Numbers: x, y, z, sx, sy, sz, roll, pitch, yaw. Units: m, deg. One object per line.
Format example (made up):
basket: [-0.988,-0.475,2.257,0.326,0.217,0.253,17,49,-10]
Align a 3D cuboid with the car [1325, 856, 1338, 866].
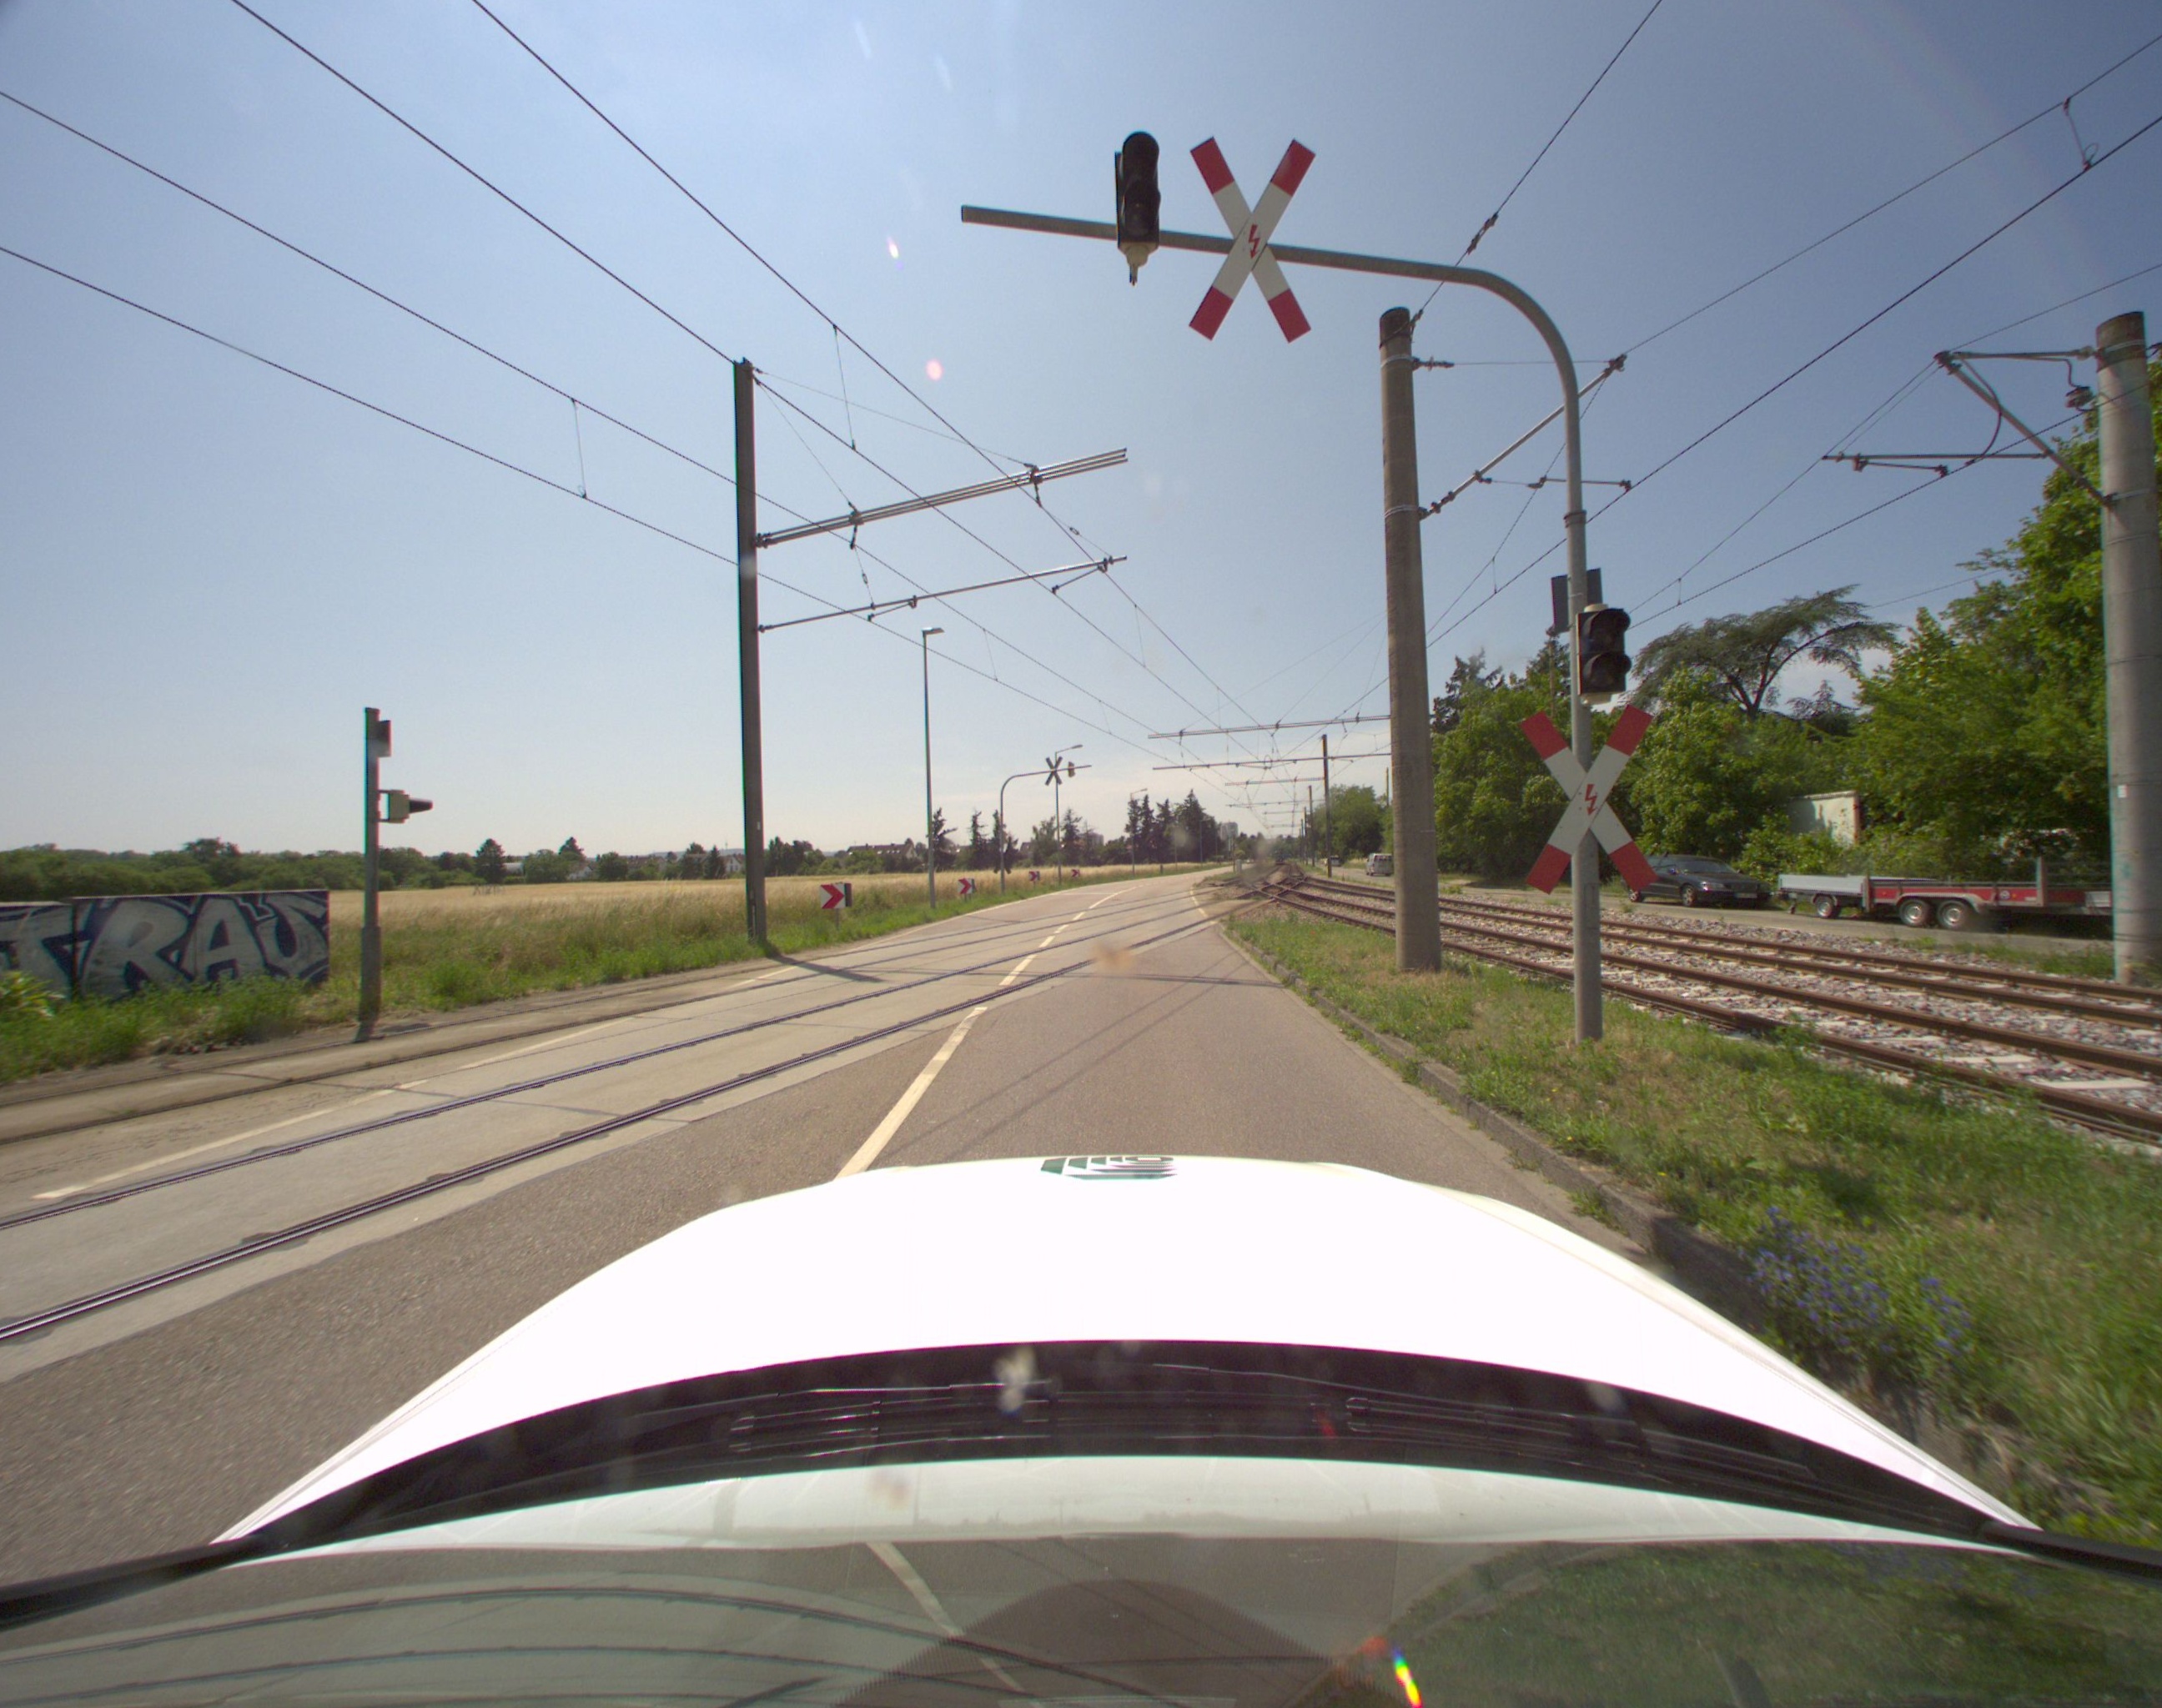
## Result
car: [45.235,1.266,147.108,1.979,1.802,4.812,-2,-2,14]

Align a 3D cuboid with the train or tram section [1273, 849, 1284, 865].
train or tram section: [51.954,0.907,213.913,2.411,3.766,11.602,-2,-2,14]

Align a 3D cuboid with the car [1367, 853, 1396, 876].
car: [26.288,0.945,71.348,2.020,1.882,5.090,-2,-2,17]

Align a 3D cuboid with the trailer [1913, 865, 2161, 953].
trailer: [16.267,0.824,13.349,1.454,1.222,4.007,-2,-2,7]

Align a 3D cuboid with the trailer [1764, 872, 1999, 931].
trailer: [16.756,0.944,17.347,1.411,0.994,4.008,1,0,7]

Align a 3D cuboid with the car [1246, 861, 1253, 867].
car: [51.068,3.042,246.731,1.821,1.467,4.695,-2,-2,14]

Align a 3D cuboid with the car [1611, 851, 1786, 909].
car: [17.376,0.744,23.254,1.787,1.426,4.748,-2,-2,7]
